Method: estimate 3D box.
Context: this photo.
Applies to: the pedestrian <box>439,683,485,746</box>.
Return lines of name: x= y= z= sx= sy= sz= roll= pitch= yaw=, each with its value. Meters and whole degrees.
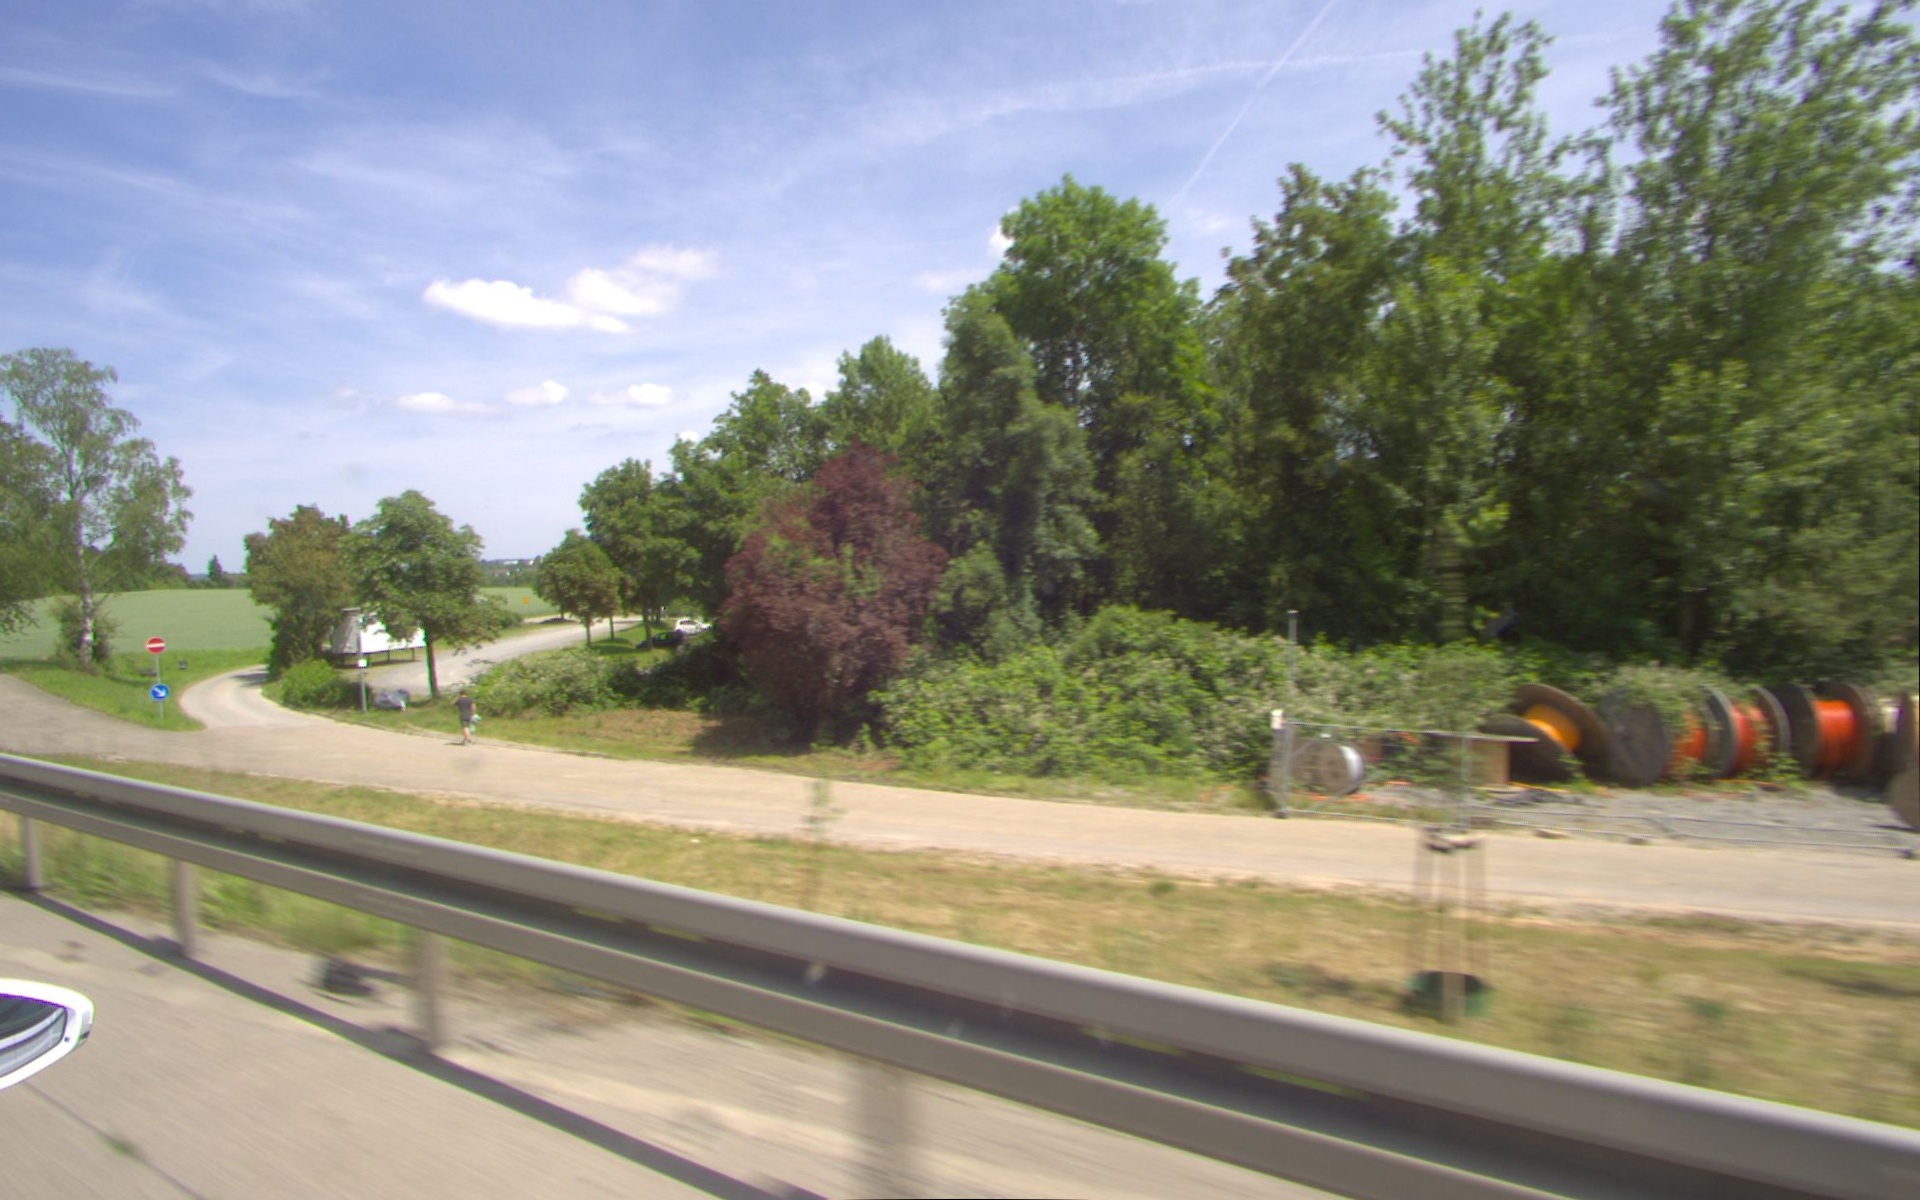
pedestrian: x=-15.982 y=3.652 z=32.128 sx=0.946 sy=1.836 sz=0.882 roll=0 pitch=3 yaw=32

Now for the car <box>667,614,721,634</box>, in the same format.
car: x=-24.147 y=2.170 z=90.896 sx=4.260 sy=1.681 sz=1.999 roll=-1 pitch=2 yaw=2

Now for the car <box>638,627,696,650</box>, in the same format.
car: x=-21.023 y=2.766 z=72.027 sx=3.624 sy=1.512 sz=1.693 roll=-1 pitch=2 yaw=1
